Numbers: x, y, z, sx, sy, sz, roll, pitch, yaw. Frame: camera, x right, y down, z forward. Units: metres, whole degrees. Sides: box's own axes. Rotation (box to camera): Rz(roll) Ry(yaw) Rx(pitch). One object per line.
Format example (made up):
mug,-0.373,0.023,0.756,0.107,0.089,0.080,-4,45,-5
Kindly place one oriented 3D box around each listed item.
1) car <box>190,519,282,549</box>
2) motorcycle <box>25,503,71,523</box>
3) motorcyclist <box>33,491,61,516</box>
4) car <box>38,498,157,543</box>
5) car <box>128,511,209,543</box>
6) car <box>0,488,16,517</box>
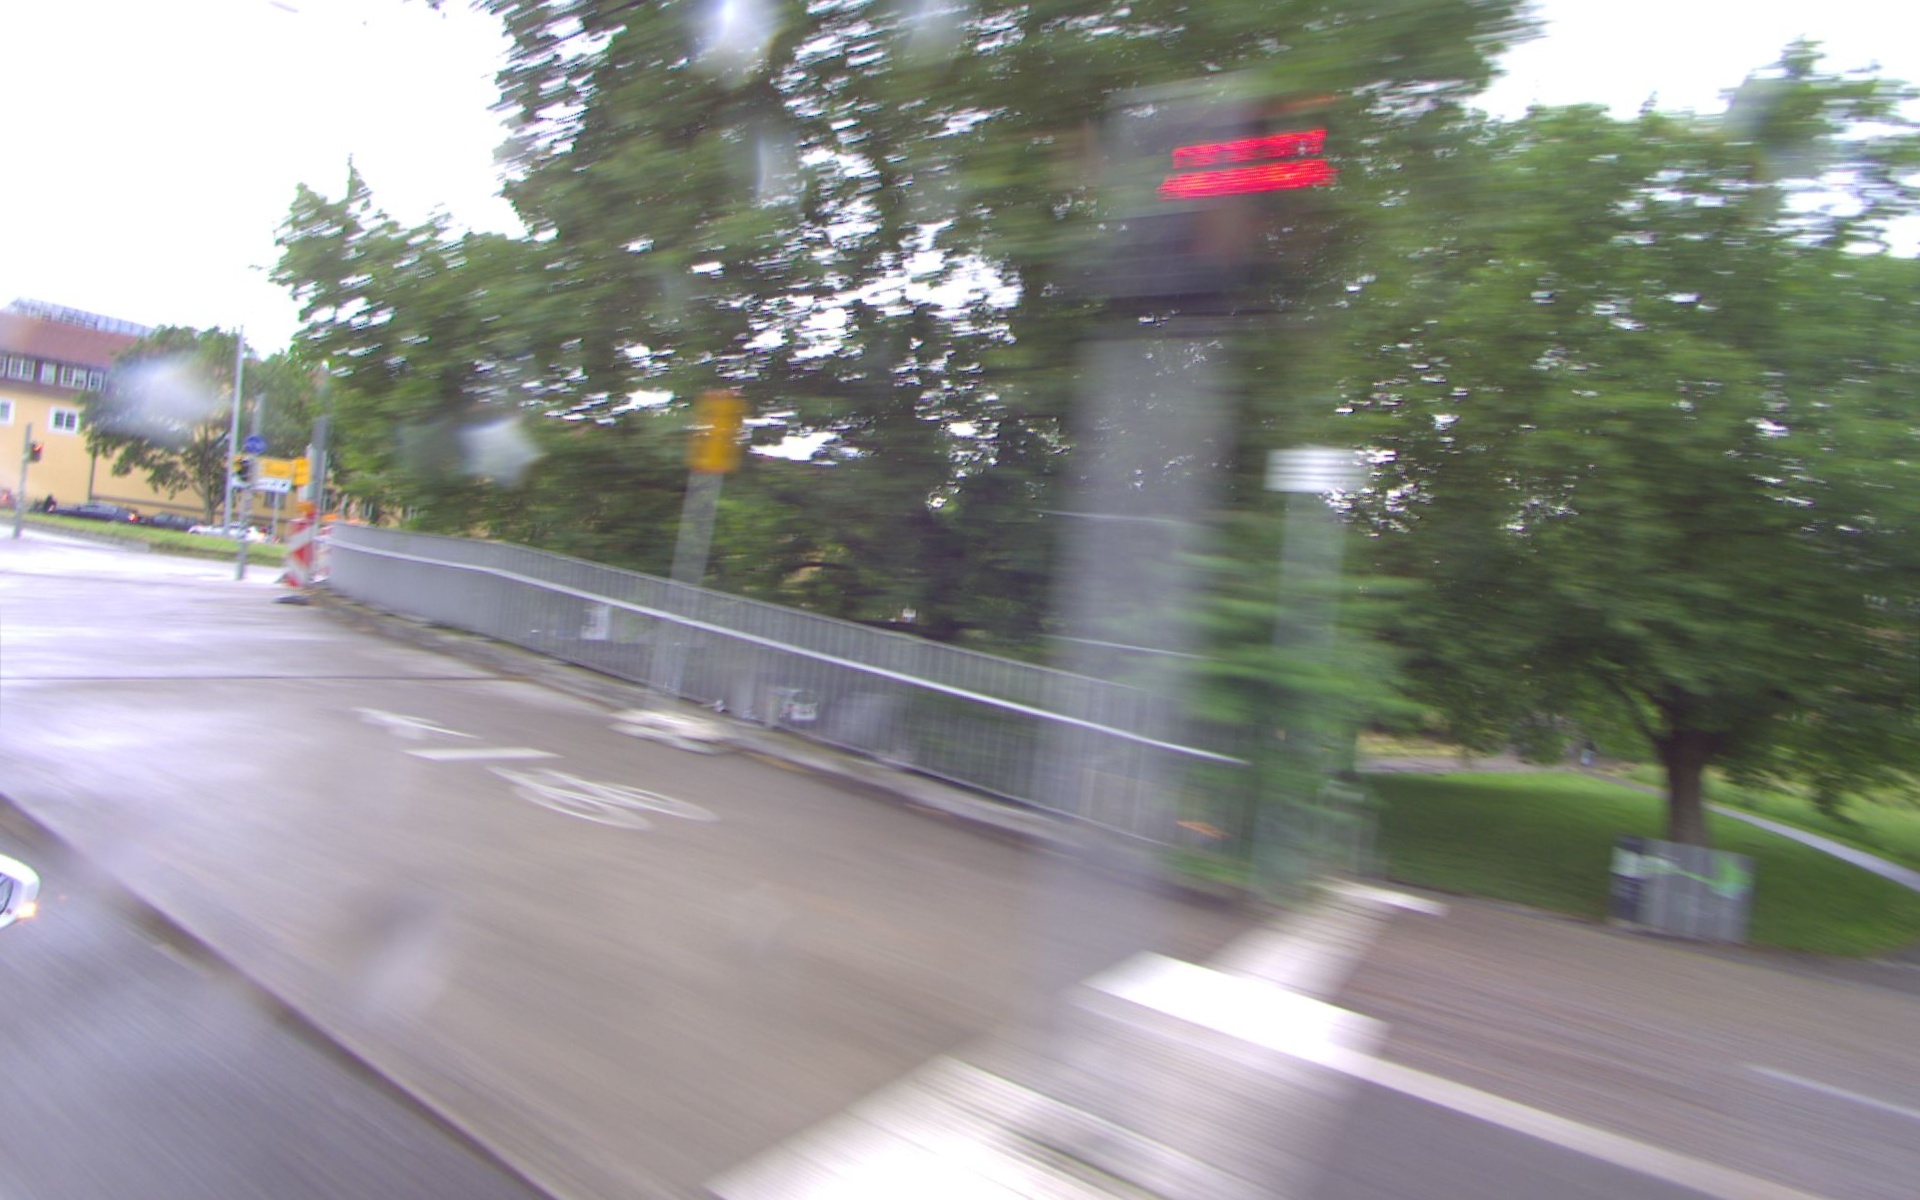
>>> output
car,-43.889,-4.012,61.024,4.298,1.153,1.543,6,-3,-2
motorcycle,-54.950,-5.230,60.635,1.954,0.862,0.541,8,-3,-37
motorcyclist,-54.889,-5.770,60.465,1.070,1.287,0.685,8,-3,-38
car,-50.301,-4.615,58.788,4.744,1.728,1.995,7,-3,-16
car,-49.510,-4.536,63.020,3.560,1.351,1.570,7,-3,-23
car,-55.802,-5.735,56.759,3.380,1.488,1.638,8,-3,-35
